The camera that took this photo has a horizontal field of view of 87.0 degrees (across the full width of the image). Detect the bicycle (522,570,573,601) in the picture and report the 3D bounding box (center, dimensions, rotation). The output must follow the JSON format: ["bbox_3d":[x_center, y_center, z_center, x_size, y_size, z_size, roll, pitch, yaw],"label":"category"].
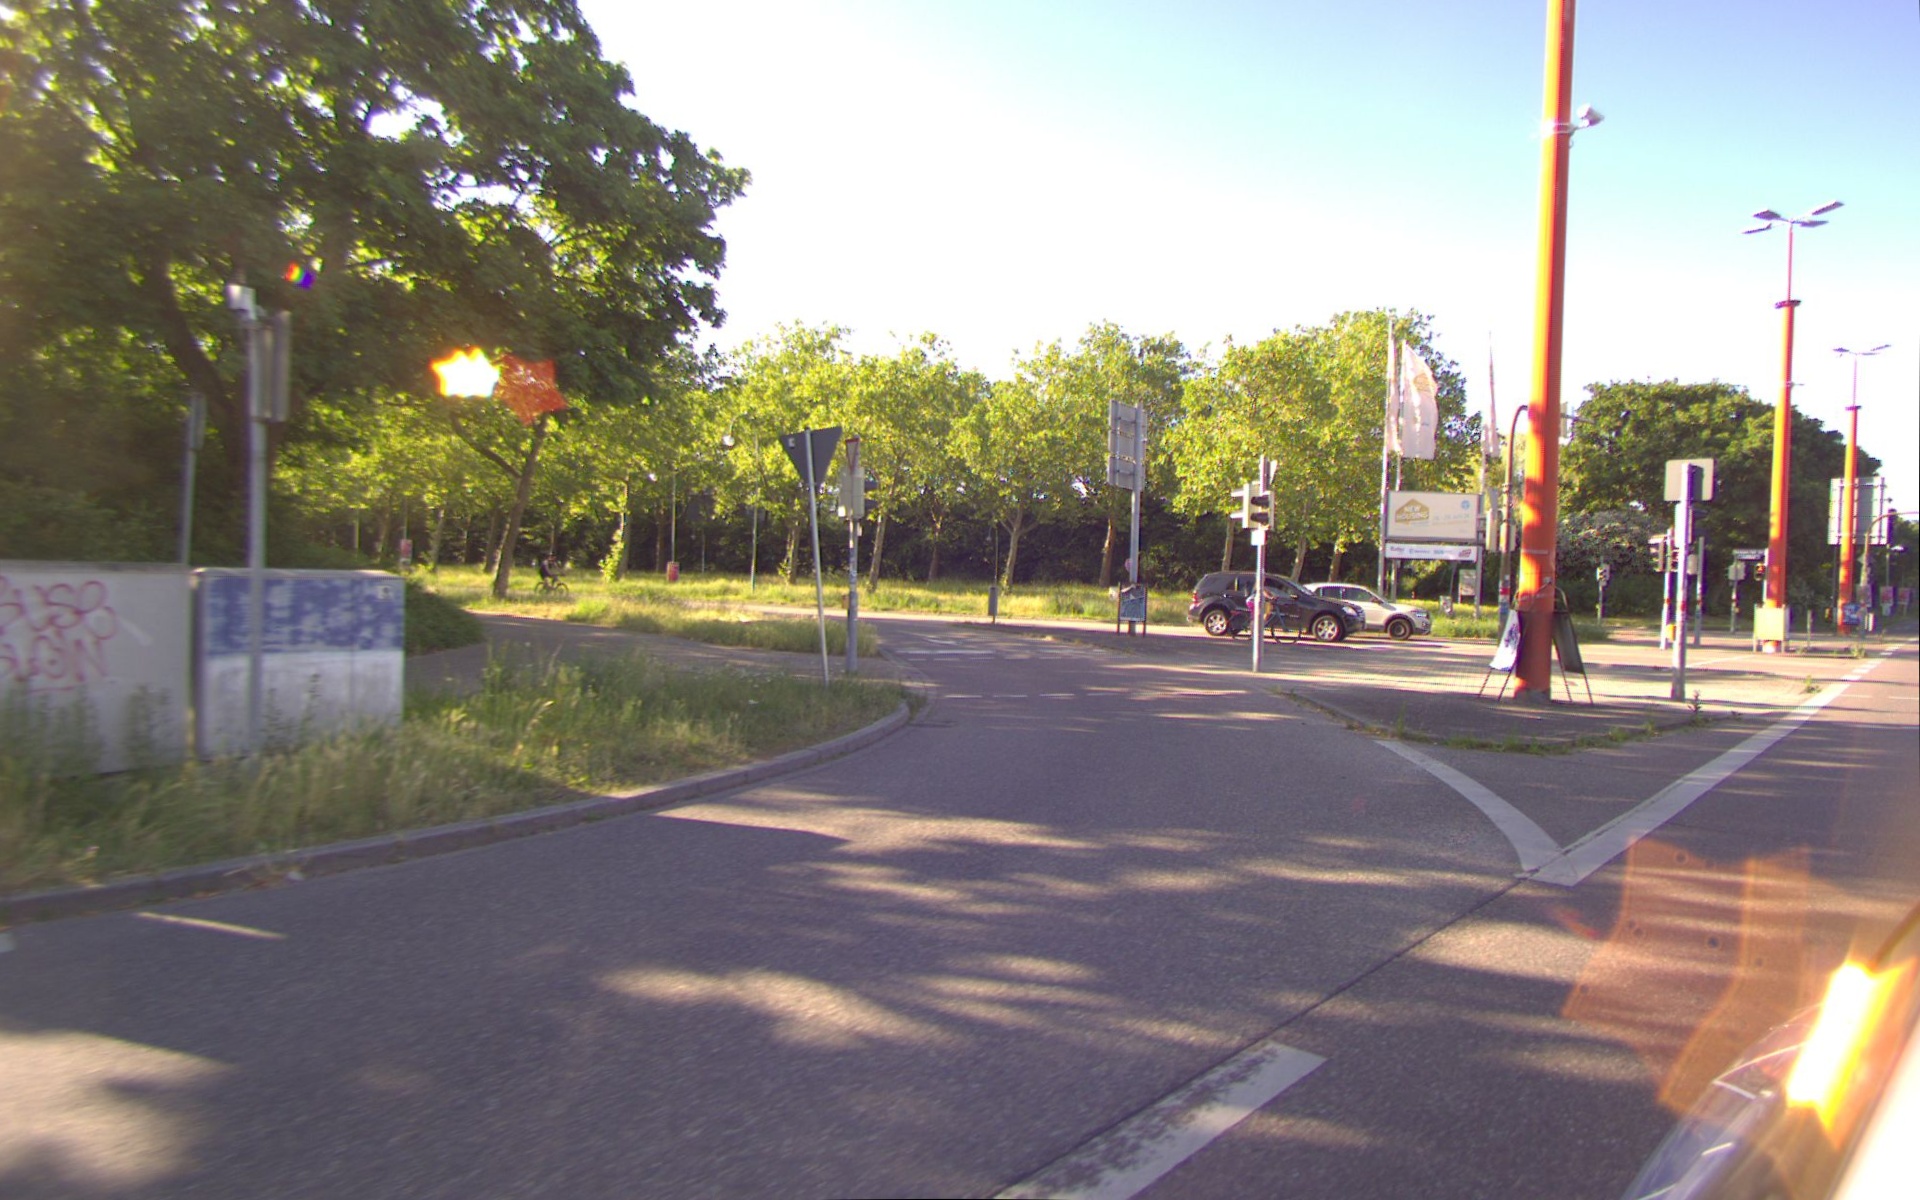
[{"bbox_3d":[-15.282,-0.551,37.483,2.001,1.105,0.729,2,2,33],"label":"bicycle"}]

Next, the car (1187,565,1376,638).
[{"bbox_3d":[8.703,-0.010,27.472,4.613,1.748,1.889,2,1,29],"label":"car"}]

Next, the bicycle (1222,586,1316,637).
[{"bbox_3d":[7.401,0.262,24.301,2.003,1.105,0.756,3,2,36],"label":"bicycle"}]

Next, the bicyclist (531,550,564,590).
[{"bbox_3d":[-15.268,-1.113,37.471,0.959,1.454,0.729,2,1,33],"label":"bicyclist"}]

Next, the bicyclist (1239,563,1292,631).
[{"bbox_3d":[7.345,-0.089,24.339,0.975,1.577,0.752,3,2,36],"label":"bicyclist"}]

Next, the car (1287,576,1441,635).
[{"bbox_3d":[11.923,0.116,29.888,4.054,1.558,1.756,2,1,28],"label":"car"}]
